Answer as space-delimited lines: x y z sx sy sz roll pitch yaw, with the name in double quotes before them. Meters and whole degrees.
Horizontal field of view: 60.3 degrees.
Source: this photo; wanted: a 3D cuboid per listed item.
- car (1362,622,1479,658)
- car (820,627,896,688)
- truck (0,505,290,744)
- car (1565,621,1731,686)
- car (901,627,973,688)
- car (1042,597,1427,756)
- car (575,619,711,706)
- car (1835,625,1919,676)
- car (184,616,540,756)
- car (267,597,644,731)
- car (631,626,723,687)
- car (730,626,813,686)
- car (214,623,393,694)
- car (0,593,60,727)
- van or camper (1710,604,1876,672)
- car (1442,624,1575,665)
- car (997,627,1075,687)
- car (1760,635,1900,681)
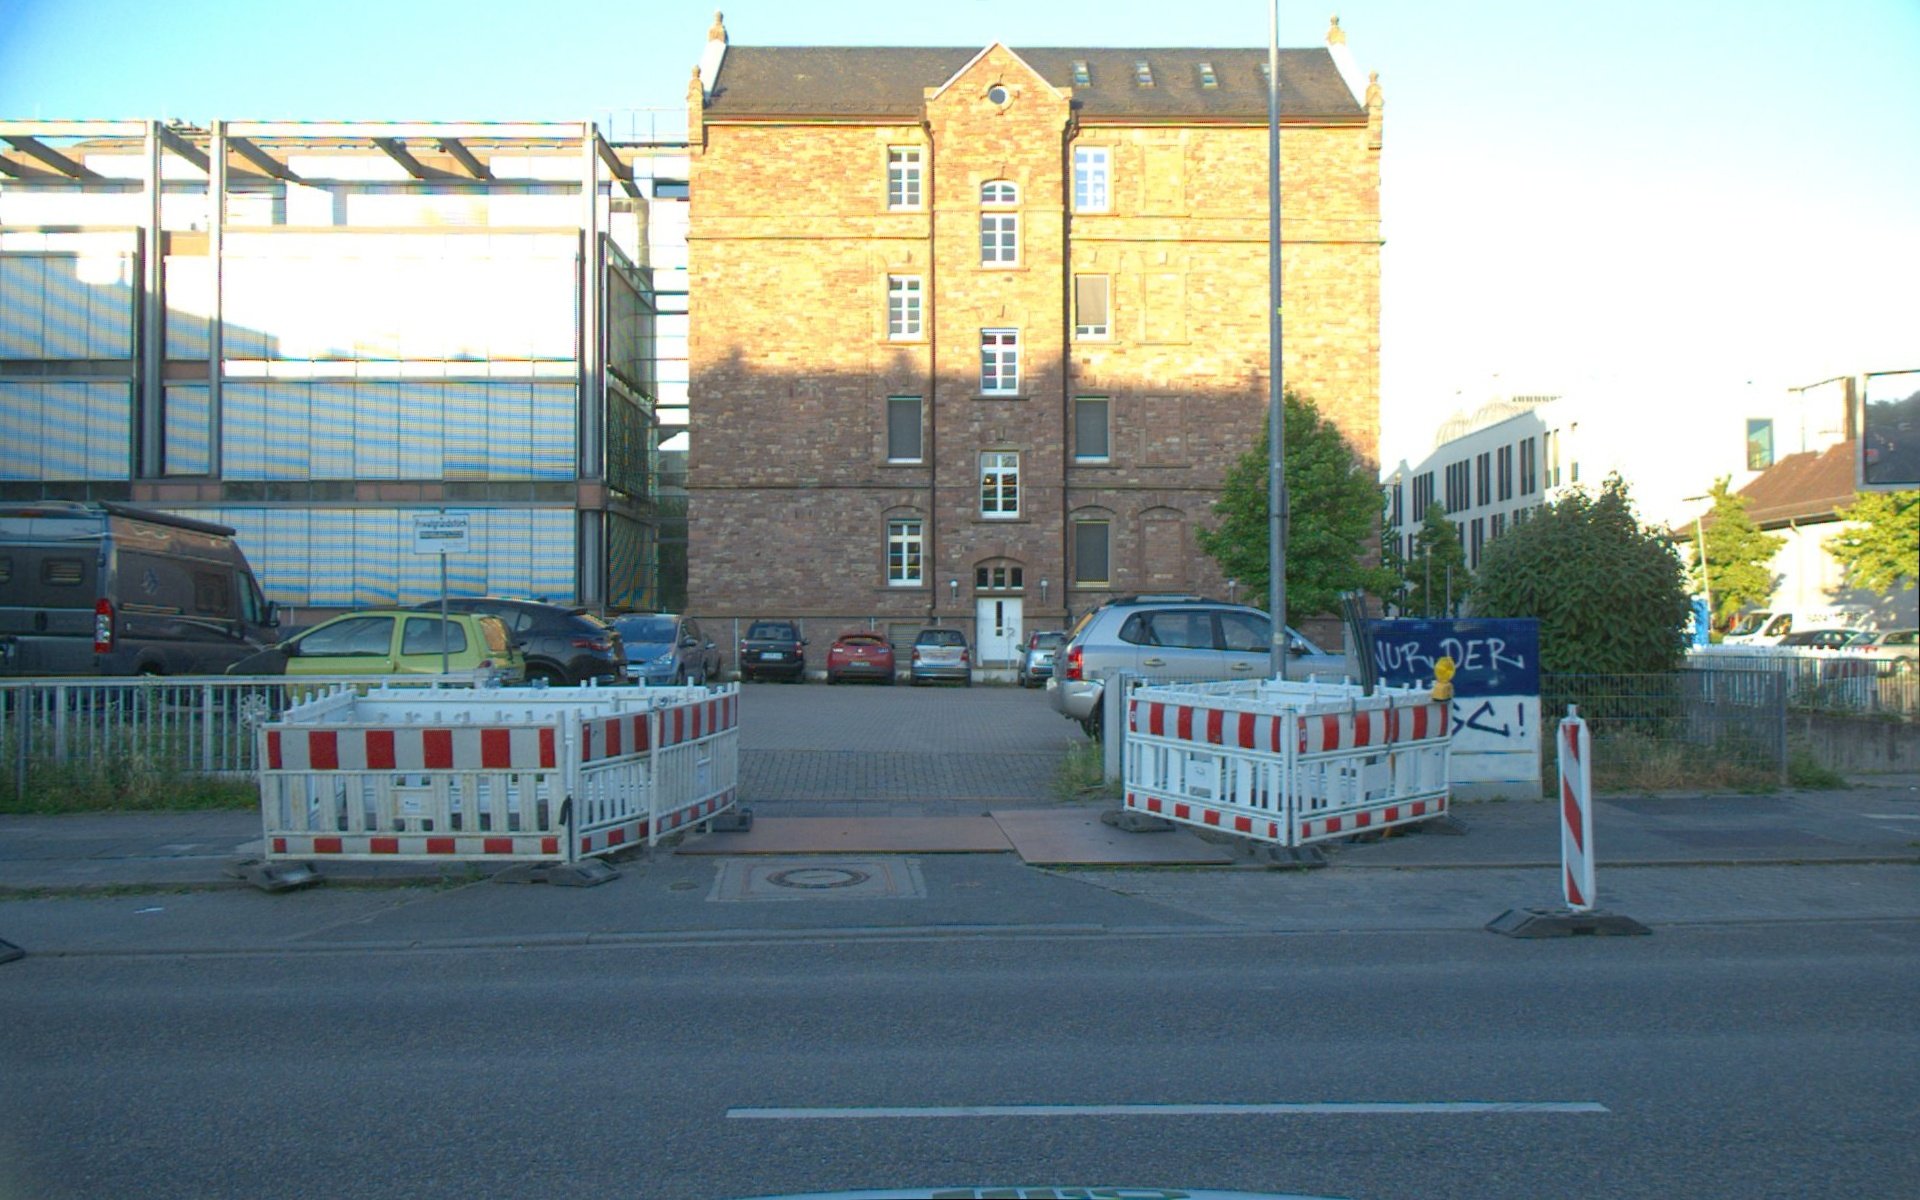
"car" 17.531 1.505 63.088 3.907 1.336 1.876 0 -1 -3
"car" -2.725 1.533 44.926 1.858 1.564 4.178 0 -1 -1
"truck" -10.633 0.323 20.956 2.286 2.663 4.972 0 -1 -1
"car" 18.037 1.398 43.436 3.667 1.631 1.685 0 -1 -5
"car" -0.632 1.539 45.111 1.858 1.564 4.178 0 -1 -1
"car" 3.125 0.865 19.379 4.183 1.739 1.702 0 -1 -3
"car" -6.259 1.209 33.117 1.953 1.604 4.363 0 -1 -1
"car" 27.915 1.476 48.478 3.667 1.471 1.685 0 -2 -5
"car" -6.902 0.979 19.354 3.557 1.530 1.637 0 -1 0
"car" -6.575 0.831 21.848 4.489 1.667 1.575 0 -1 0
"car" -7.662 1.507 45.130 1.858 1.564 4.178 0 -1 -1
"car" -5.098 1.495 45.241 1.858 1.564 4.178 0 -1 -1
"car" -13.036 1.131 33.134 1.900 1.329 4.363 0 -1 -1
"car" -13.339 0.769 20.859 1.954 1.722 3.997 0 -1 -3
"van or camper" 28.269 1.287 56.213 4.865 2.280 1.685 0 -2 -5
"car" 18.961 1.531 57.274 3.907 1.336 2.063 1 -1 -3
"car" 2.029 1.523 45.107 1.858 1.564 4.178 0 -1 -1
"car" 27.916 1.854 53.122 3.667 1.471 1.685 0 -2 -5
